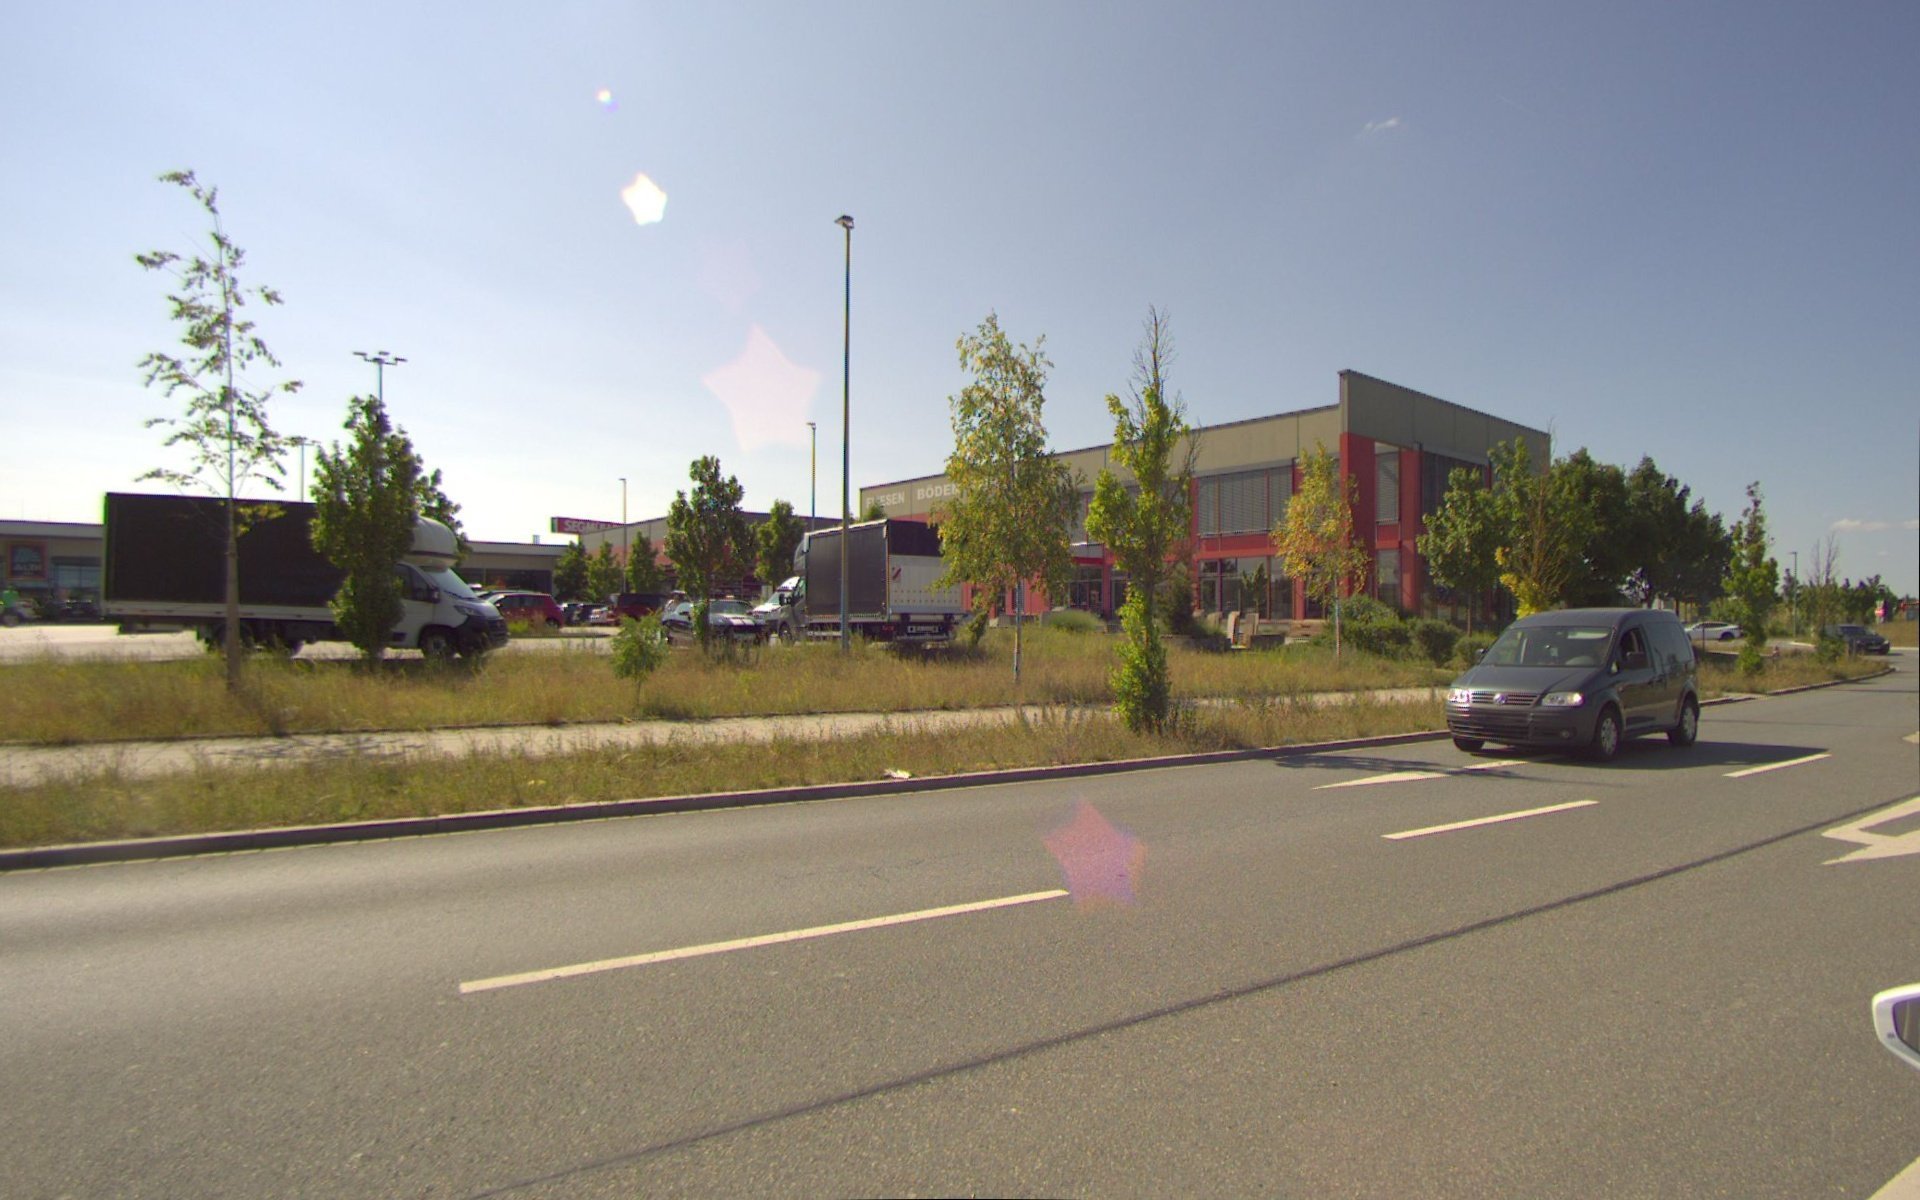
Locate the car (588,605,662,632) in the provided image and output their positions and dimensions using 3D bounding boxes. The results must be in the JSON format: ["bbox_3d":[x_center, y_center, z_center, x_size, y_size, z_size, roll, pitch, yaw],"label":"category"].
[{"bbox_3d":[-20.647,1.130,62.030,4.053,1.598,1.646,2,-1,-42],"label":"car"}]

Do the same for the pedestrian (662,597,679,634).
[{"bbox_3d":[-14.738,0.769,51.088,0.656,1.865,0.473,1,-1,-43],"label":"pedestrian"}]

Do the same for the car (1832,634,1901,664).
[{"bbox_3d":[49.829,2.699,55.320,1.732,1.563,4.235,-2,-3,27],"label":"car"}]

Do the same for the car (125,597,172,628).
[{"bbox_3d":[-49.538,0.782,61.378,1.981,1.808,3.960,1,-1,-36],"label":"car"}]

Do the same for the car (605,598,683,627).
[{"bbox_3d":[-18.506,0.731,58.915,4.053,1.608,1.646,2,-1,-42],"label":"car"}]

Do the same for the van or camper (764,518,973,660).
[{"bbox_3d":[-2.864,-0.217,28.723,2.530,3.514,7.644,1,-1,-34],"label":"van or camper"}]

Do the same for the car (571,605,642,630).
[{"bbox_3d":[-23.151,1.158,65.832,4.053,1.579,1.646,2,-1,-42],"label":"car"}]

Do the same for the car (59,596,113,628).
[{"bbox_3d":[-51.858,0.726,59.666,1.981,1.808,3.960,1,-1,-36],"label":"car"}]

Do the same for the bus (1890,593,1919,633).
[{"bbox_3d":[79.876,0.865,79.499,11.989,3.120,2.790,-1,-1,-12],"label":"bus"}]

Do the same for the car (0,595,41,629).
[{"bbox_3d":[-46.745,0.569,47.779,4.345,1.623,1.817,2,-1,-39],"label":"car"}]

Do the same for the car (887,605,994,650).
[{"bbox_3d":[-0.712,1.059,38.414,4.054,1.636,1.645,2,-1,-43],"label":"car"}]

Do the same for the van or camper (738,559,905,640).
[{"bbox_3d":[-6.023,0.057,44.612,7.178,3.314,2.409,2,-1,-41],"label":"van or camper"}]

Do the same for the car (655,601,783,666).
[{"bbox_3d":[-6.458,0.850,26.556,1.820,1.573,4.338,1,-1,-35],"label":"car"}]

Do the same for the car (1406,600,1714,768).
[{"bbox_3d":[7.872,0.982,13.044,4.386,1.818,1.937,1,-3,-38],"label":"car"}]

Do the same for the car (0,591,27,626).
[{"bbox_3d":[-45.437,0.364,45.630,4.345,1.613,1.817,2,-1,-39],"label":"car"}]

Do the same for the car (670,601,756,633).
[{"bbox_3d":[-12.898,0.898,52.578,4.054,1.636,1.645,2,-1,-43],"label":"car"}]

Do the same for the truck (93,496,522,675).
[{"bbox_3d":[-13.632,-0.241,21.524,7.354,3.510,2.322,1,-1,-7],"label":"truck"}]

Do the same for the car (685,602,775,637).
[{"bbox_3d":[-11.367,0.982,49.800,4.054,1.636,1.645,2,-1,-43],"label":"car"}]

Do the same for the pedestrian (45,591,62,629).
[{"bbox_3d":[-49.934,0.551,55.305,0.657,2.040,0.619,1,-1,-43],"label":"pedestrian"}]

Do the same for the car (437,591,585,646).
[{"bbox_3d":[-15.573,0.659,34.969,4.349,1.797,1.815,2,-1,-42],"label":"car"}]
